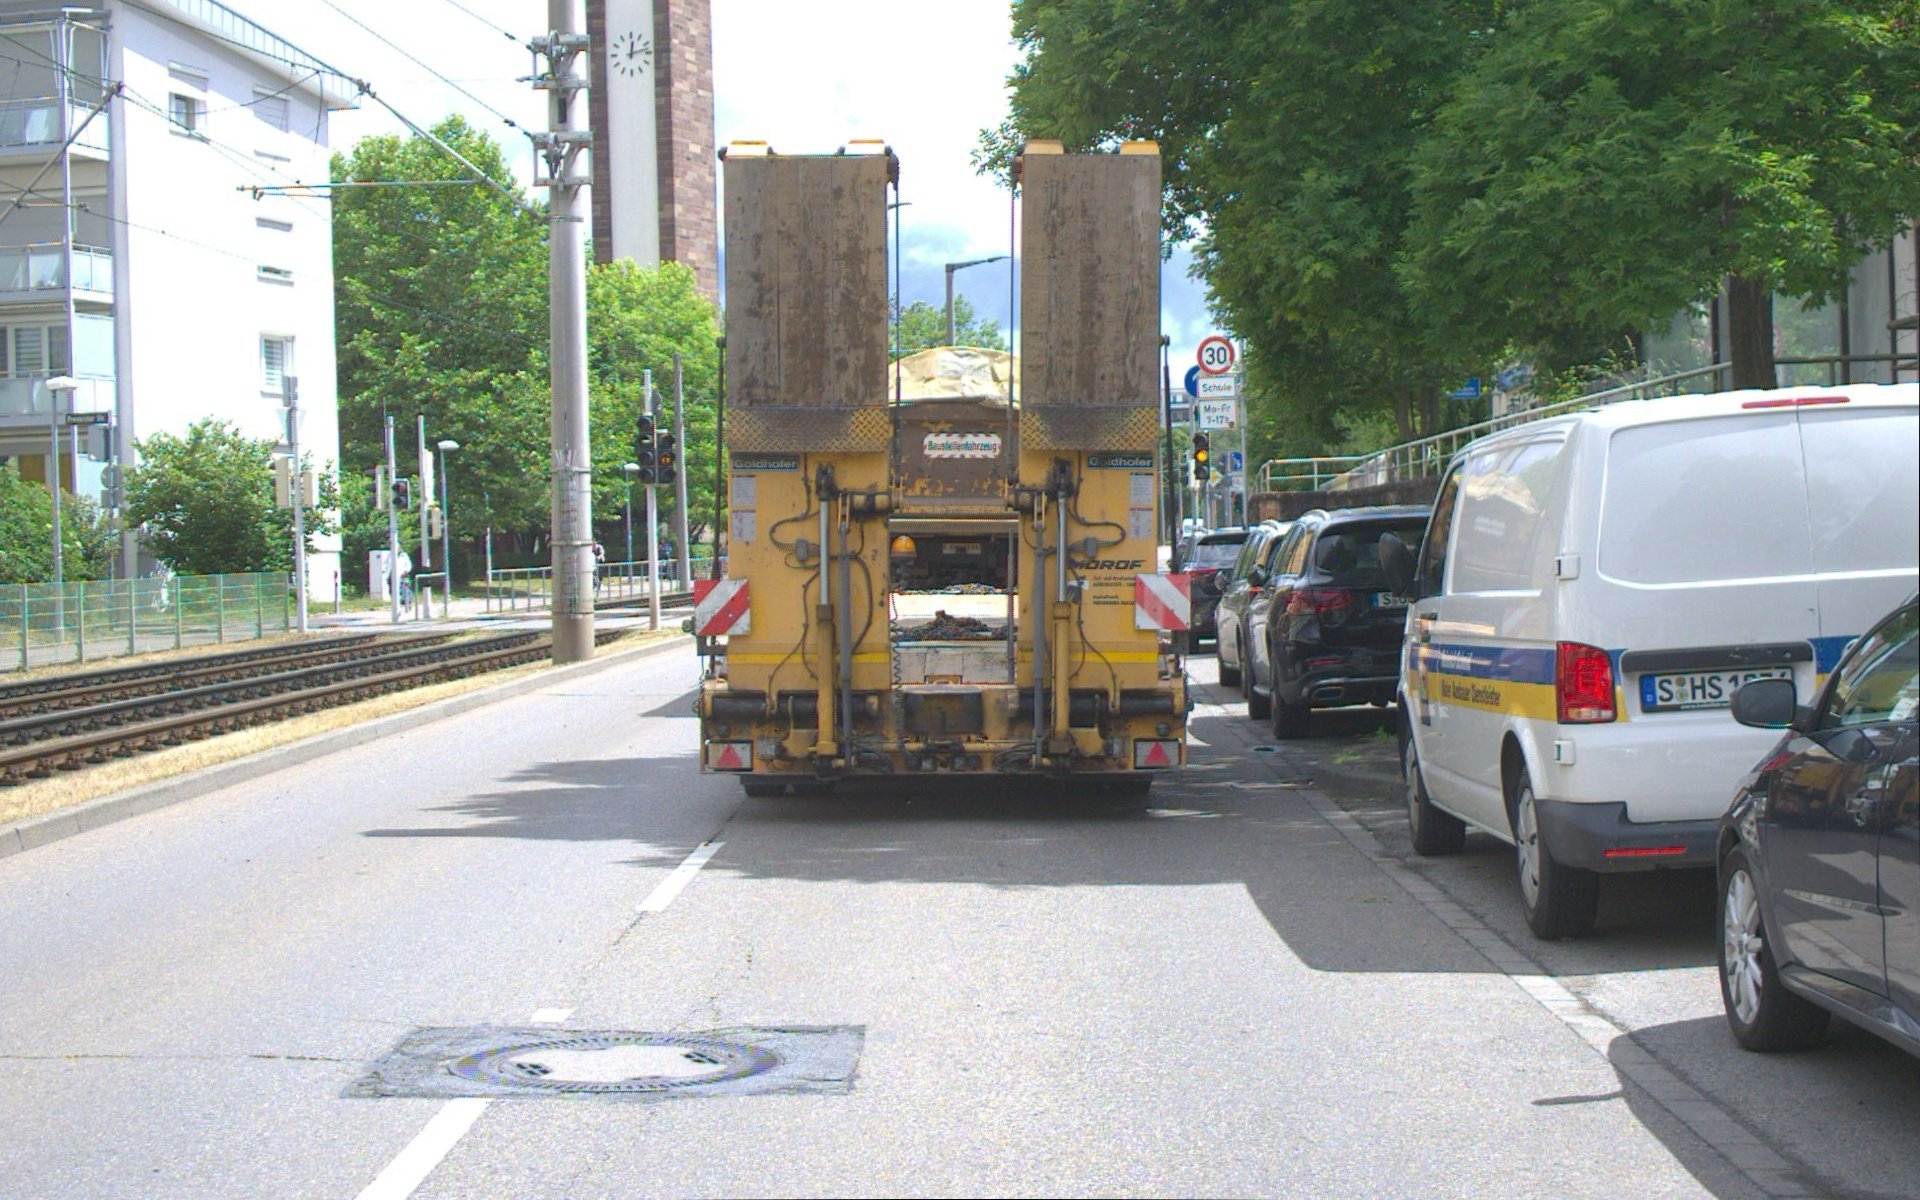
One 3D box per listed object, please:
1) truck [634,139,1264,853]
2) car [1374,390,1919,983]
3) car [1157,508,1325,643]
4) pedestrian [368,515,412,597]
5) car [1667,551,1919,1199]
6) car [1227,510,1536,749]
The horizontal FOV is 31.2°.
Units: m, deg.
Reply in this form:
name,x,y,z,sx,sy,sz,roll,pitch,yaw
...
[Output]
name,x,y,z,sx,sy,sz,roll,pitch,yaw
truck,-0.158,-0.689,23.531,3.124,3.552,12.461,-1,2,-1
car,2.866,0.224,13.891,1.799,1.961,4.590,-2,1,0
car,3.555,-0.356,44.087,1.799,1.617,4.292,-1,2,0
pedestrian,-14.140,-1.097,85.230,0.951,2.007,1.179,-1,1,-14
car,2.908,0.600,8.480,1.621,1.400,3.650,-2,2,2
car,3.067,0.148,25.804,1.799,1.617,4.292,-1,2,0
